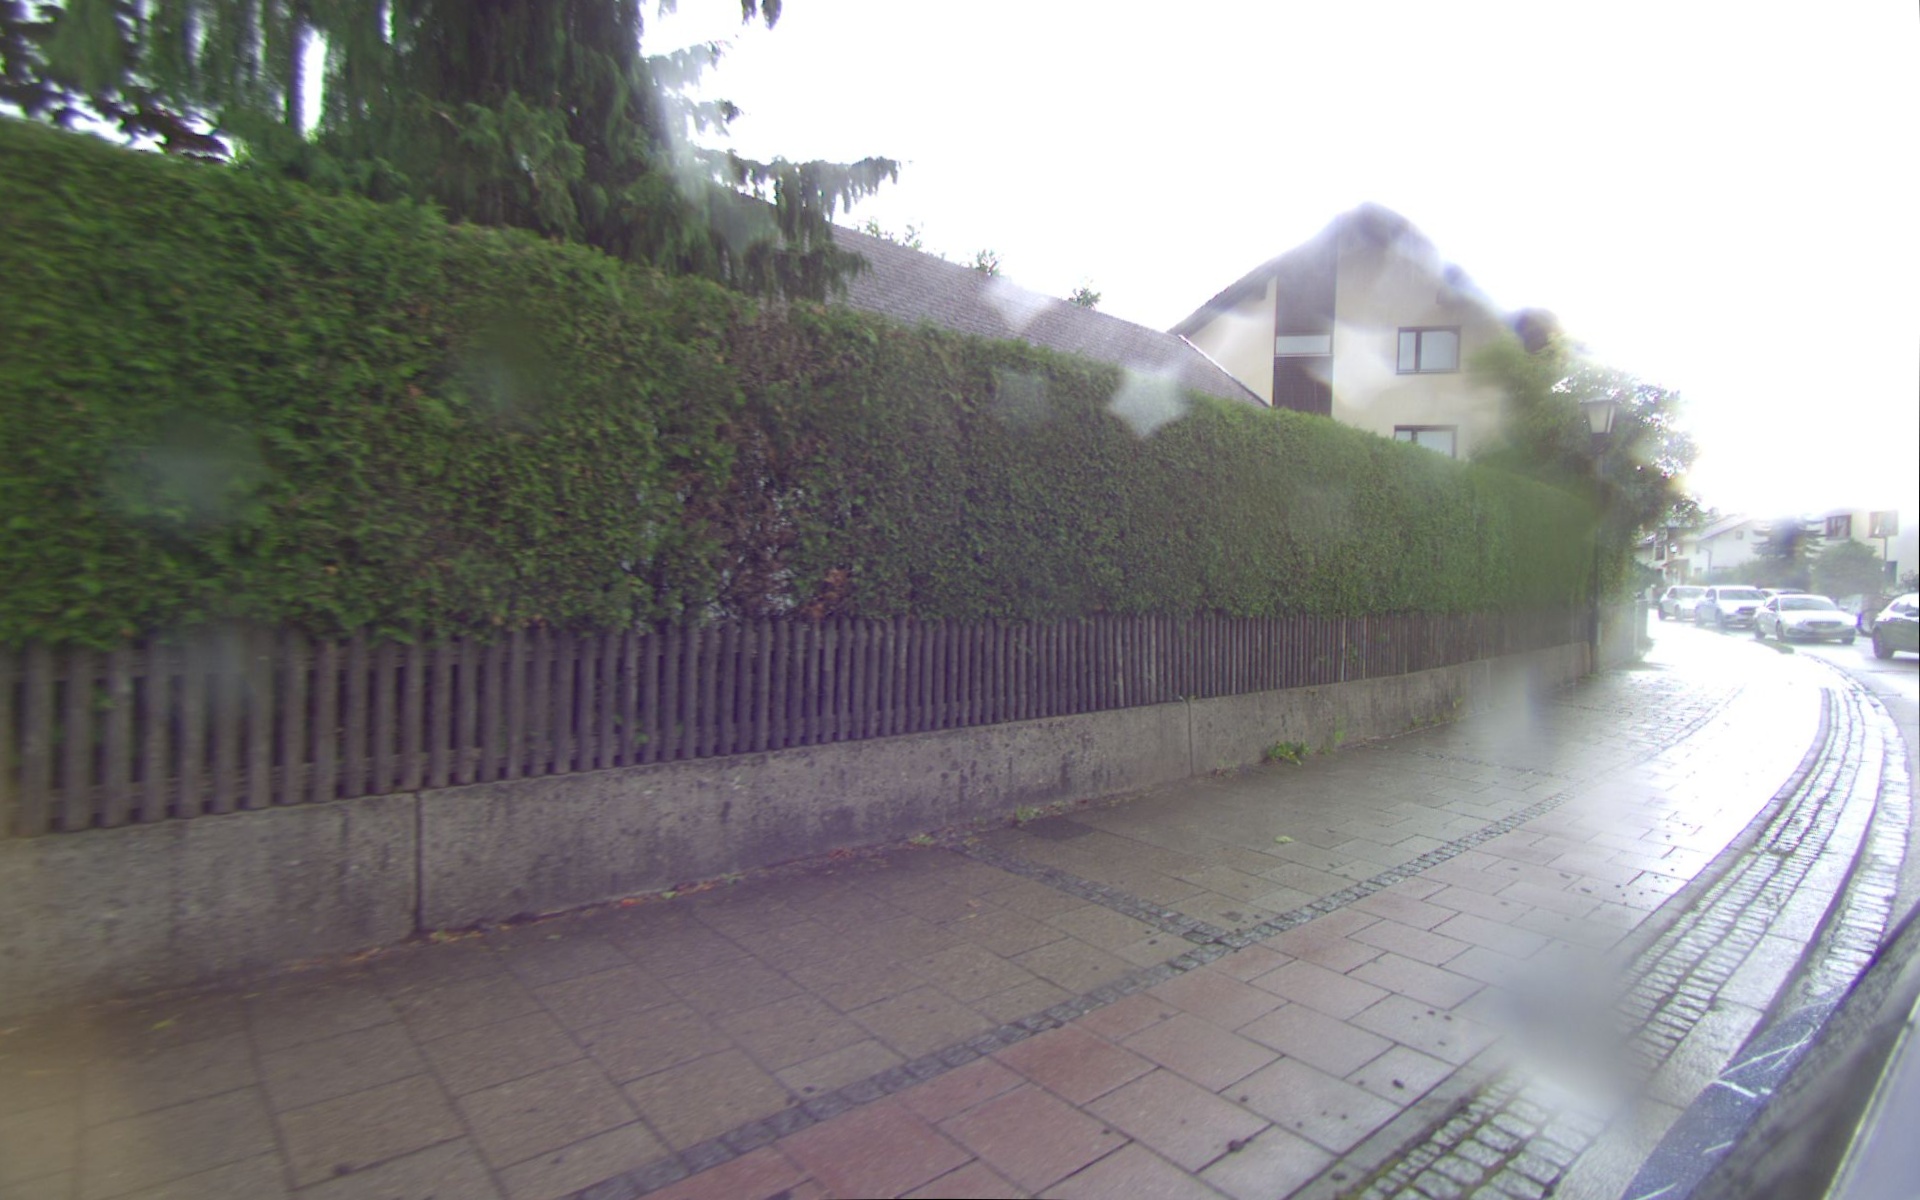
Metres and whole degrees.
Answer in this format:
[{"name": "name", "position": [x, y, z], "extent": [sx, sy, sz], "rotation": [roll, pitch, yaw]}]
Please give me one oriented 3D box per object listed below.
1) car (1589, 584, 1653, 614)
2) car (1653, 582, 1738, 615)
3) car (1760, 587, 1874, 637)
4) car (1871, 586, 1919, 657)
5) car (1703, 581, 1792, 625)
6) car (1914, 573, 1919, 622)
[{"name": "car", "position": [36.464, -0.069, 55.938], "extent": [1.770, 1.568, 4.259], "rotation": [-1, 1, 17]}, {"name": "car", "position": [33.229, -0.088, 45.853], "extent": [1.770, 1.391, 4.259], "rotation": [-1, 1, 17]}, {"name": "car", "position": [26.286, 0.332, 31.205], "extent": [1.778, 1.412, 4.240], "rotation": [-1, 1, 28]}, {"name": "car", "position": [21.862, 0.445, 22.215], "extent": [1.781, 1.498, 5.326], "rotation": [-1, 1, 31]}, {"name": "car", "position": [30.084, 0.089, 38.811], "extent": [1.776, 1.568, 4.244], "rotation": [-1, 1, 25]}, {"name": "car", "position": [34.564, -0.067, 34.702], "extent": [1.630, 1.787, 4.288], "rotation": [-1, 1, 28]}]
